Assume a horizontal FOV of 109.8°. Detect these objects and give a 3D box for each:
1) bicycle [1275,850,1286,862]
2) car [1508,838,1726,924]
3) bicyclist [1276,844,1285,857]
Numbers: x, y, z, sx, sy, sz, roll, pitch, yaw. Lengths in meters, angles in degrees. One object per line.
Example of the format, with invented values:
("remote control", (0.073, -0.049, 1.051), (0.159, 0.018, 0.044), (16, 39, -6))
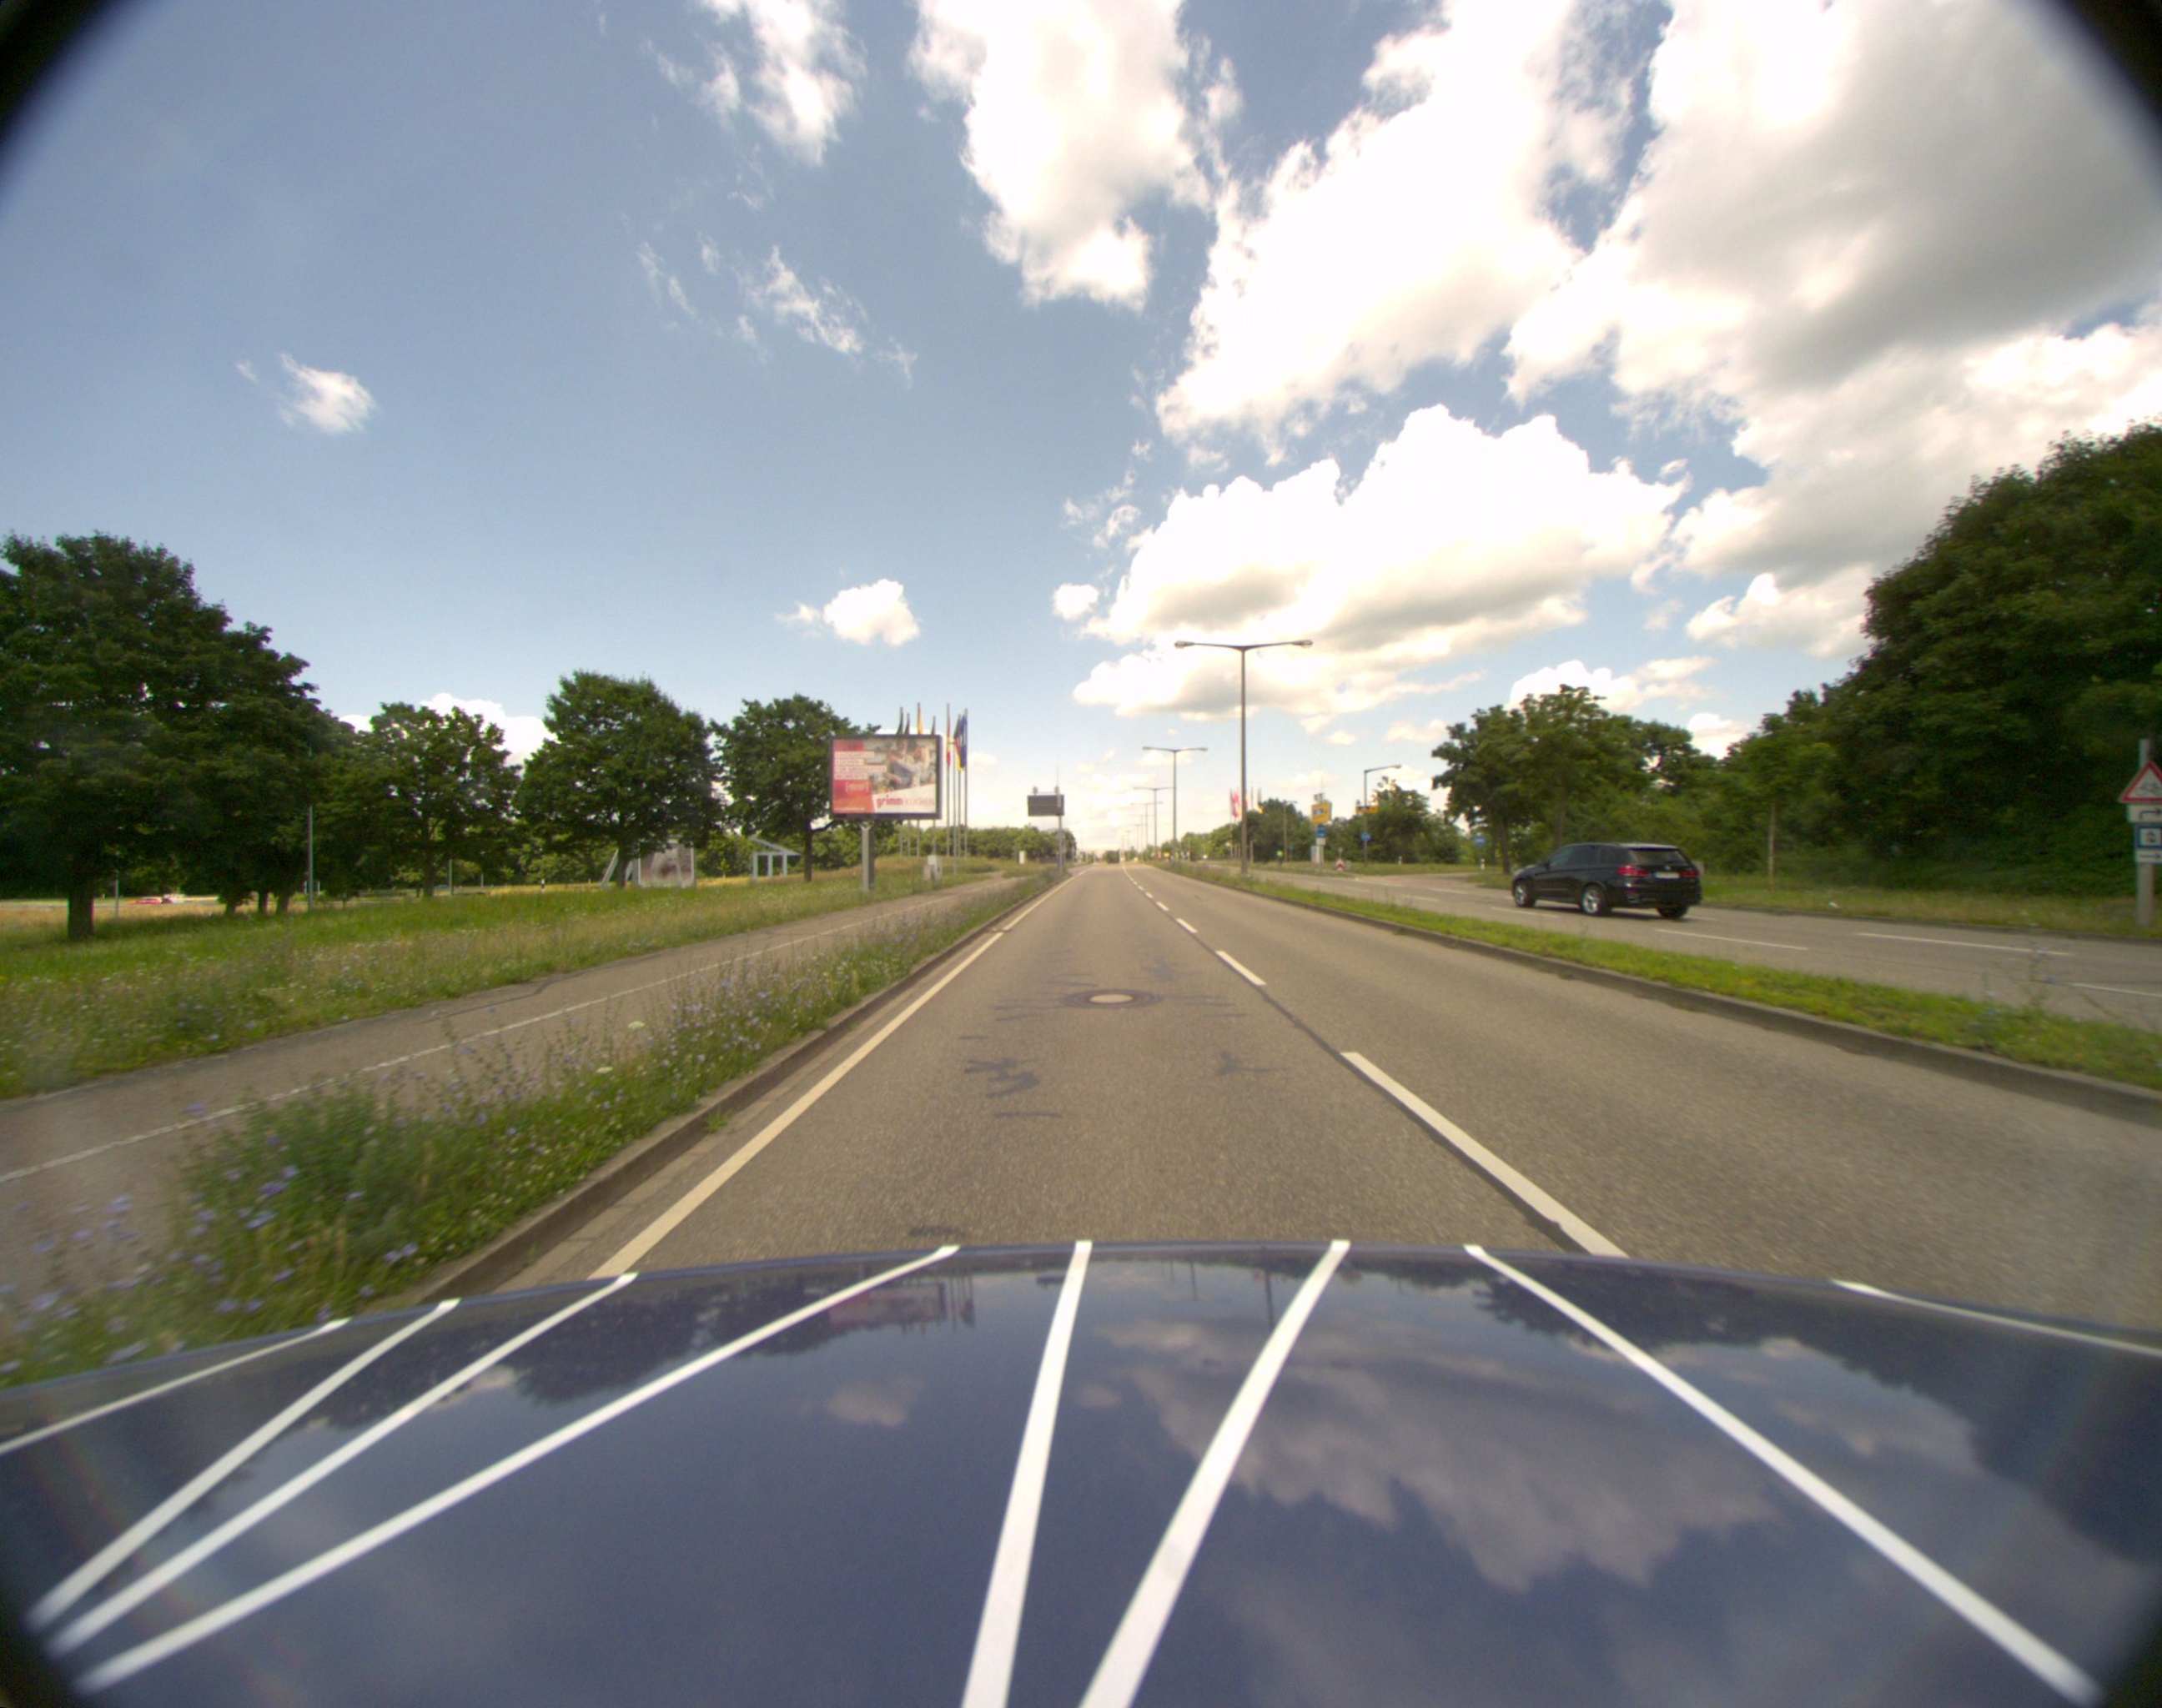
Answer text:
("bicycle", (19.663, 0.195, 74.899), (0.433, 1.062, 1.908), (-2, -1, -1))
("car", (12.658, 0.563, 18.430), (1.881, 1.780, 4.728), (1, 0, 0))
("bicyclist", (19.655, -0.335, 74.887), (0.522, 1.264, 1.107), (-2, -1, -1))
